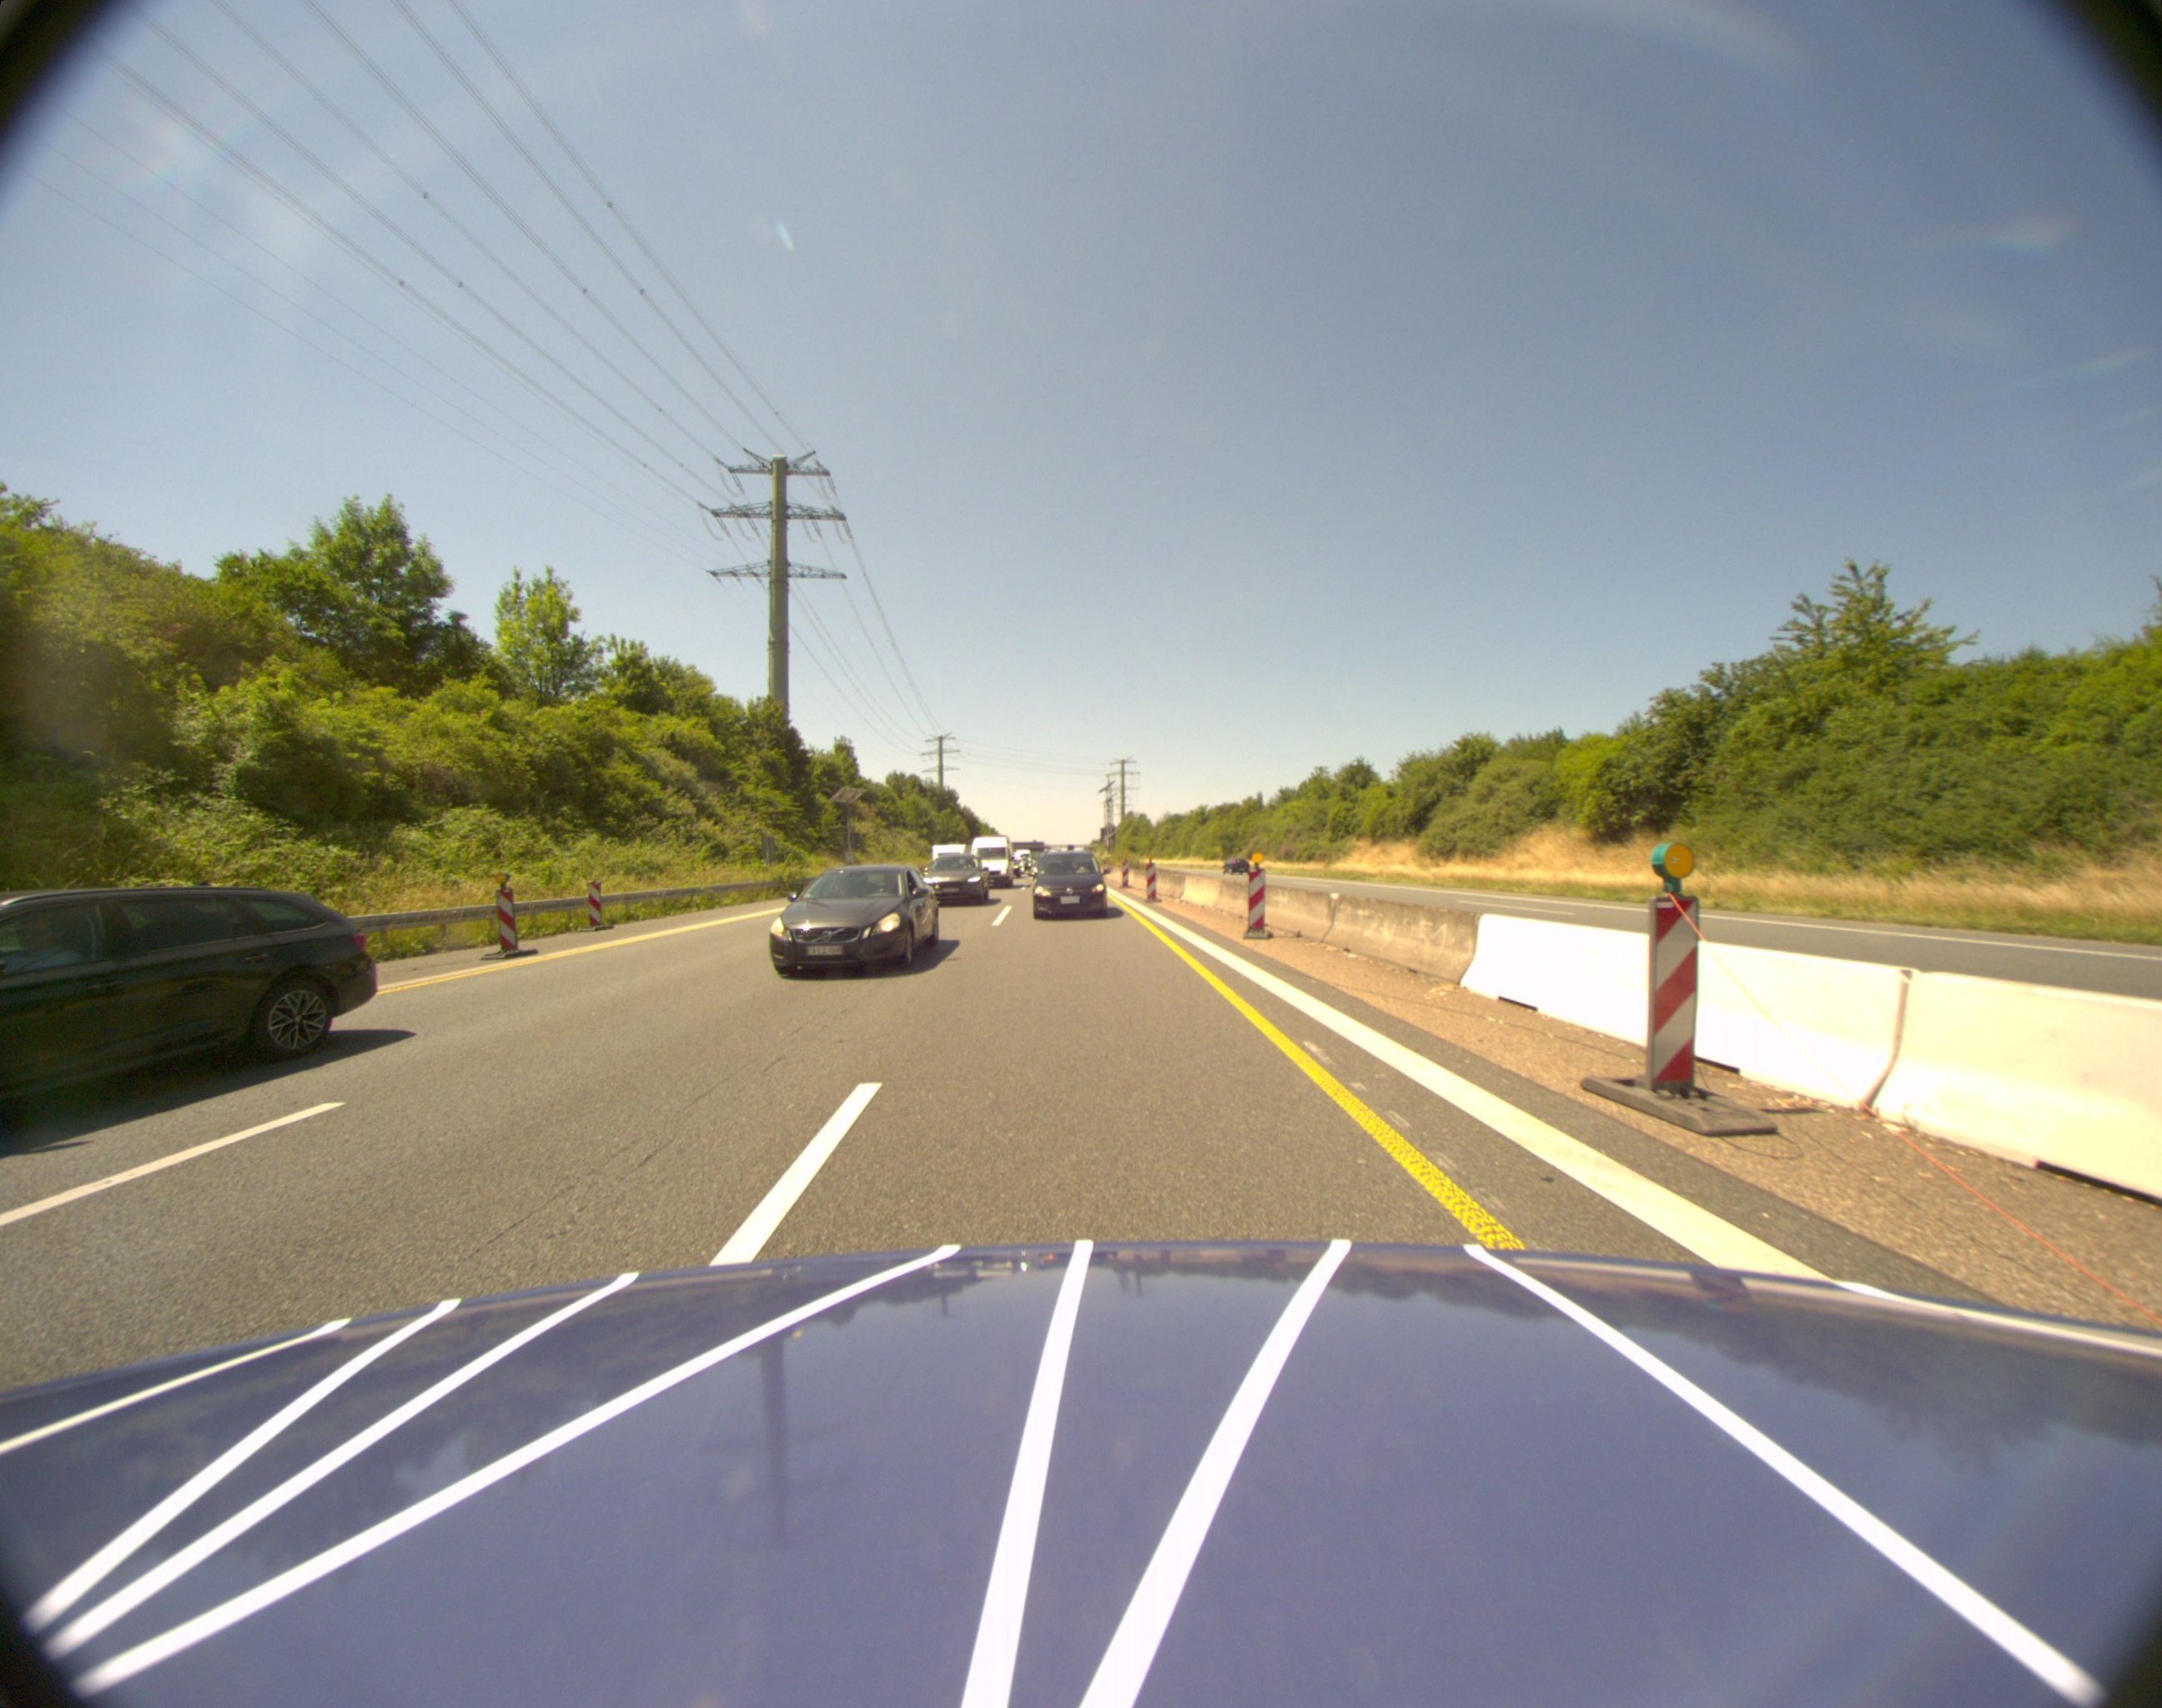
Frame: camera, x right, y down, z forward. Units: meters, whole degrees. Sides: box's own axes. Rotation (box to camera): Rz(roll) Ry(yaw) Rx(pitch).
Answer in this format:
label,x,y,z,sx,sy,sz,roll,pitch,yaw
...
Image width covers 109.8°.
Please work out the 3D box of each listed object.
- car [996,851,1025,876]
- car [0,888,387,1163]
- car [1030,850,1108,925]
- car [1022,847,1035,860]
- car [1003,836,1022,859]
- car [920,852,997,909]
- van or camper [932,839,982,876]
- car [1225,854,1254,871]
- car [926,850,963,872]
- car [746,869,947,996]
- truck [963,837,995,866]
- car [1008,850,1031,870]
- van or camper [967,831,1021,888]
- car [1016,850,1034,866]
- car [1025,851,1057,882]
label,x,y,z,sx,sy,sz,roll,pitch,yaw
car,-4.878,0.650,53.201,1.745,1.659,4.156,-1,0,-2
car,-7.294,1.105,4.824,1.784,1.480,4.462,-2,1,-3
car,-0.248,0.744,19.403,1.675,1.619,4.690,-3,0,1
car,-7.333,-0.088,106.163,1.745,1.659,4.156,-1,0,-2
car,-11.938,-1.142,133.218,2.397,3.779,10.271,-2,1,0
car,-3.911,0.782,24.921,1.745,1.659,4.157,-1,0,1
van or camper,-9.345,0.198,58.071,2.432,2.549,8.415,-2,1,-1
car,13.439,0.723,64.653,1.771,1.346,3.513,0,0,0
car,-9.260,0.427,51.732,1.801,1.399,4.209,2,0,-1
car,-3.286,1.020,11.498,1.799,1.433,3.999,-2,0,-1
truck,-11.900,-0.284,89.498,2.431,3.122,7.647,-4,0,1
car,-5.360,0.526,66.571,1.745,1.659,4.156,-1,0,-2
van or camper,-4.194,0.251,37.615,1.998,2.604,5.628,0,0,0
car,-6.012,0.395,81.950,1.745,1.659,4.156,-1,0,-2
car,-2.305,0.691,44.341,1.745,1.659,4.156,-1,0,-2
